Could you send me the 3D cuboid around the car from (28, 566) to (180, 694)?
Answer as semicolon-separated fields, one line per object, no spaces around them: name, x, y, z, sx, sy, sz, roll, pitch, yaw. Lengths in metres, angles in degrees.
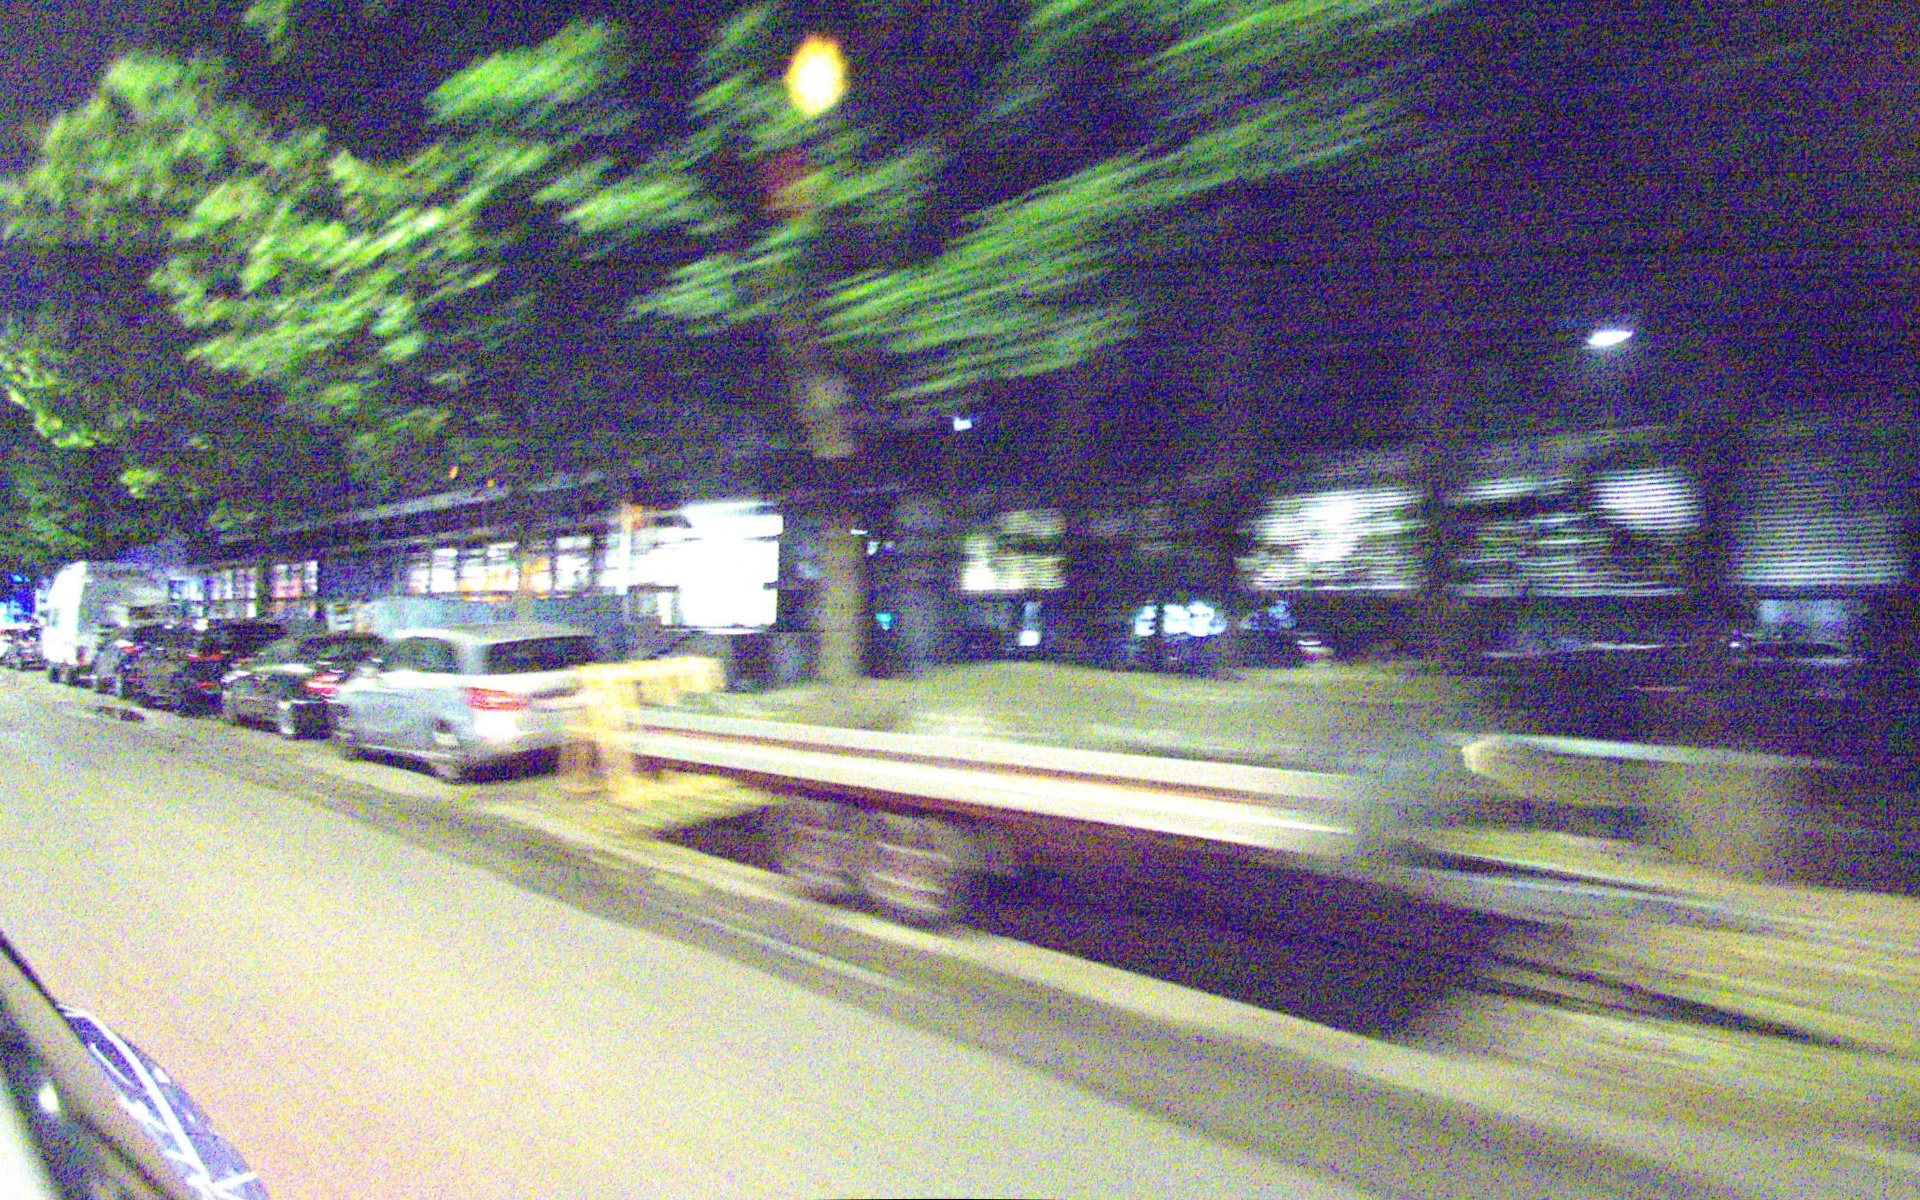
car;-21.759;0.721;25.657;4.906;2.931;2.157;-1;-1;40

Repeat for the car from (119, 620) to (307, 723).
car;-13.564;1.187;18.288;4.294;1.619;1.725;-1;-1;39

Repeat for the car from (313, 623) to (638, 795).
car;-5.528;1.050;11.316;4.202;1.513;1.699;-1;0;40

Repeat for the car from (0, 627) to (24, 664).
car;-39.050;1.826;40.834;3.901;1.440;1.430;-1;0;40

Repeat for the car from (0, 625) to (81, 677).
car;-29.869;1.595;32.770;3.859;1.516;1.628;-1;0;41

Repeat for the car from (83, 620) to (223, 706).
car;-17.466;1.276;21.841;4.114;1.619;1.723;-1;0;42

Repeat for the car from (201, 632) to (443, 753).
car;-9.499;1.233;14.906;4.630;1.422;1.687;-1;1;41

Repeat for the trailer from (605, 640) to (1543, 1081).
trailer;0.200;1.004;6.108;5.434;1.345;2.088;-1;0;42

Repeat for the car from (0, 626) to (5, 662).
car;-42.484;1.912;43.533;3.901;1.516;1.626;-1;0;40

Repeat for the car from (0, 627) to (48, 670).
car;-34.388;1.746;36.703;3.366;1.466;1.532;-1;0;40
